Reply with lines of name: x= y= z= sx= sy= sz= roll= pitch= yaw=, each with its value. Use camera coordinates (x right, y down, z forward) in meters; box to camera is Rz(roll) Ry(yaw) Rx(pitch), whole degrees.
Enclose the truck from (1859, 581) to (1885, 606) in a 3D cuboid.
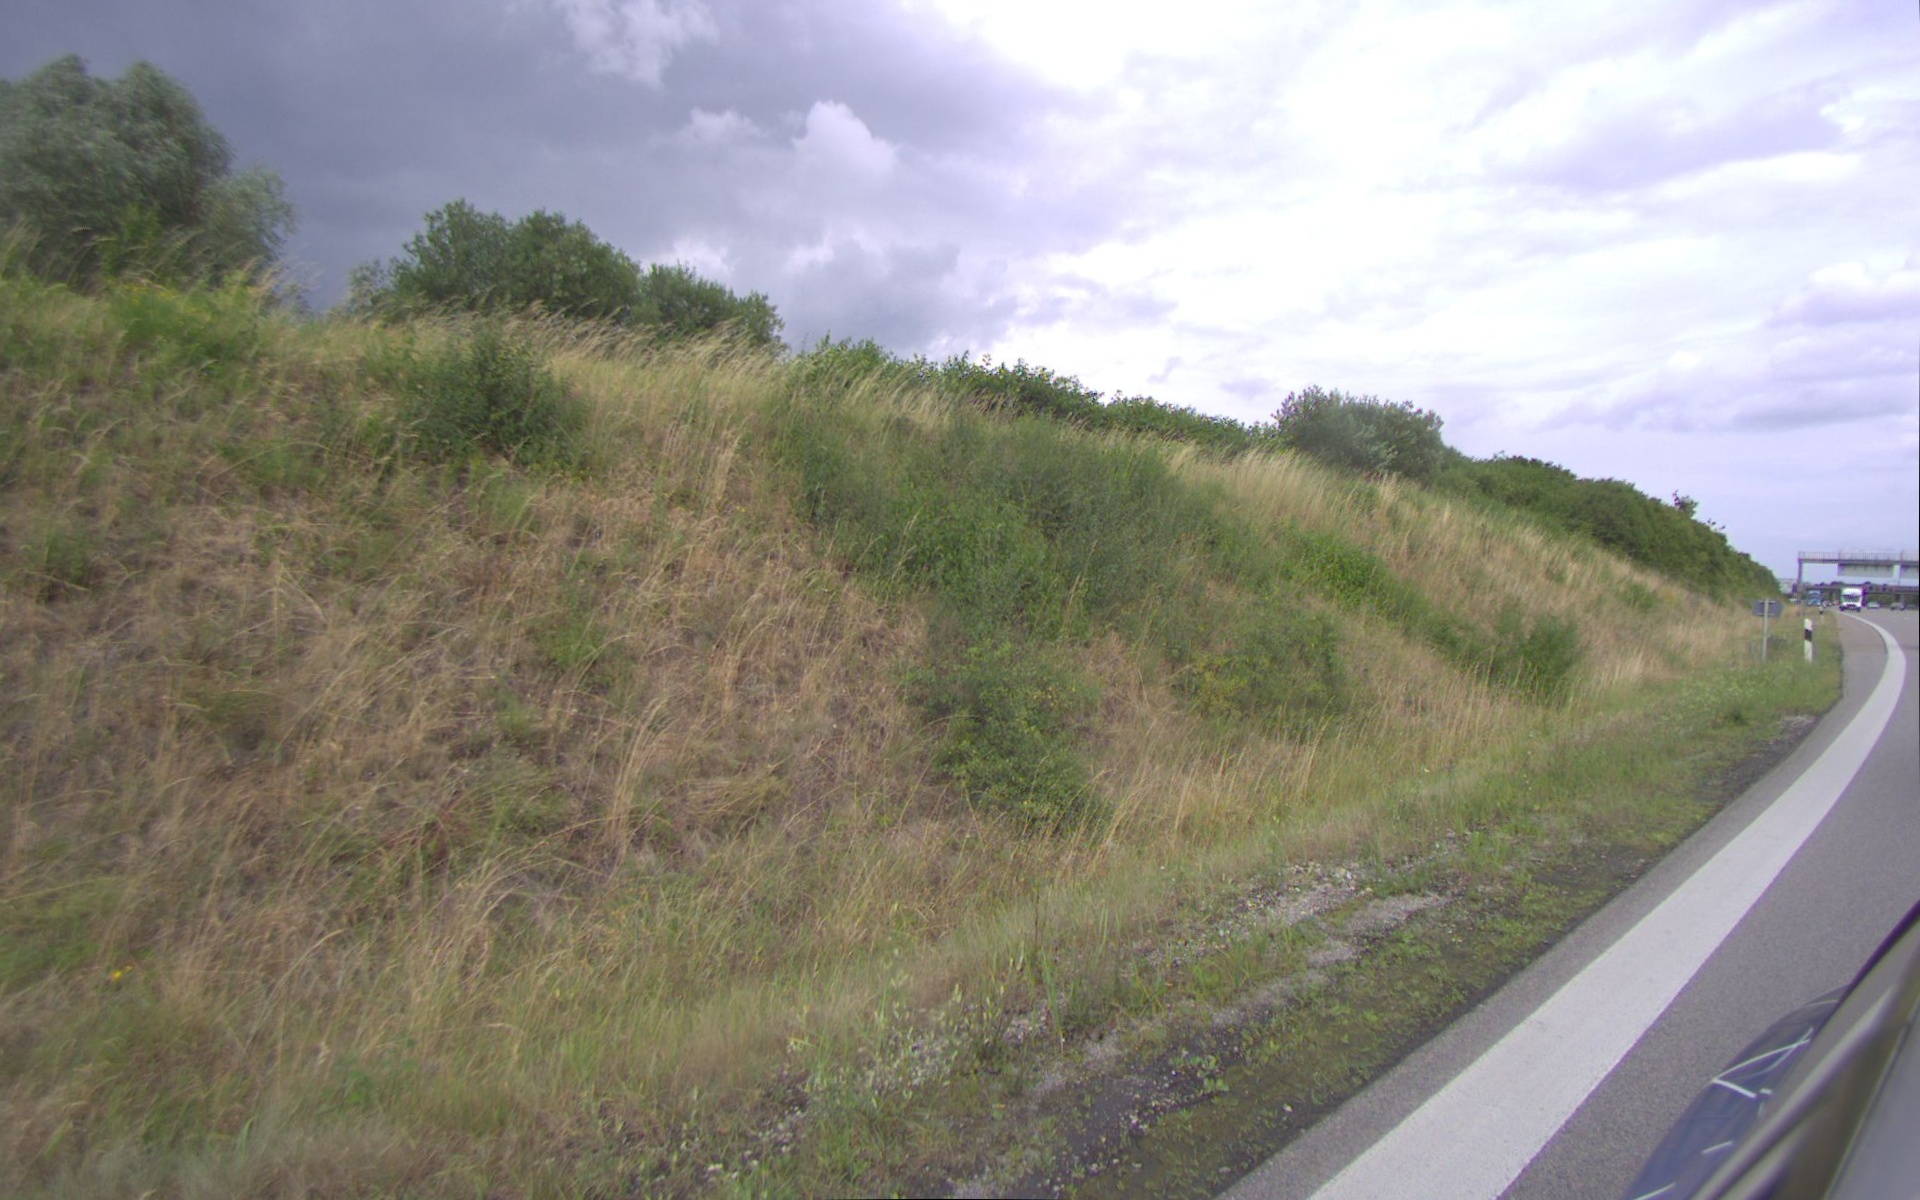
truck: x=124.548 y=-0.937 z=138.268 sx=2.441 sy=3.275 sz=7.083 roll=2 pitch=2 yaw=42
